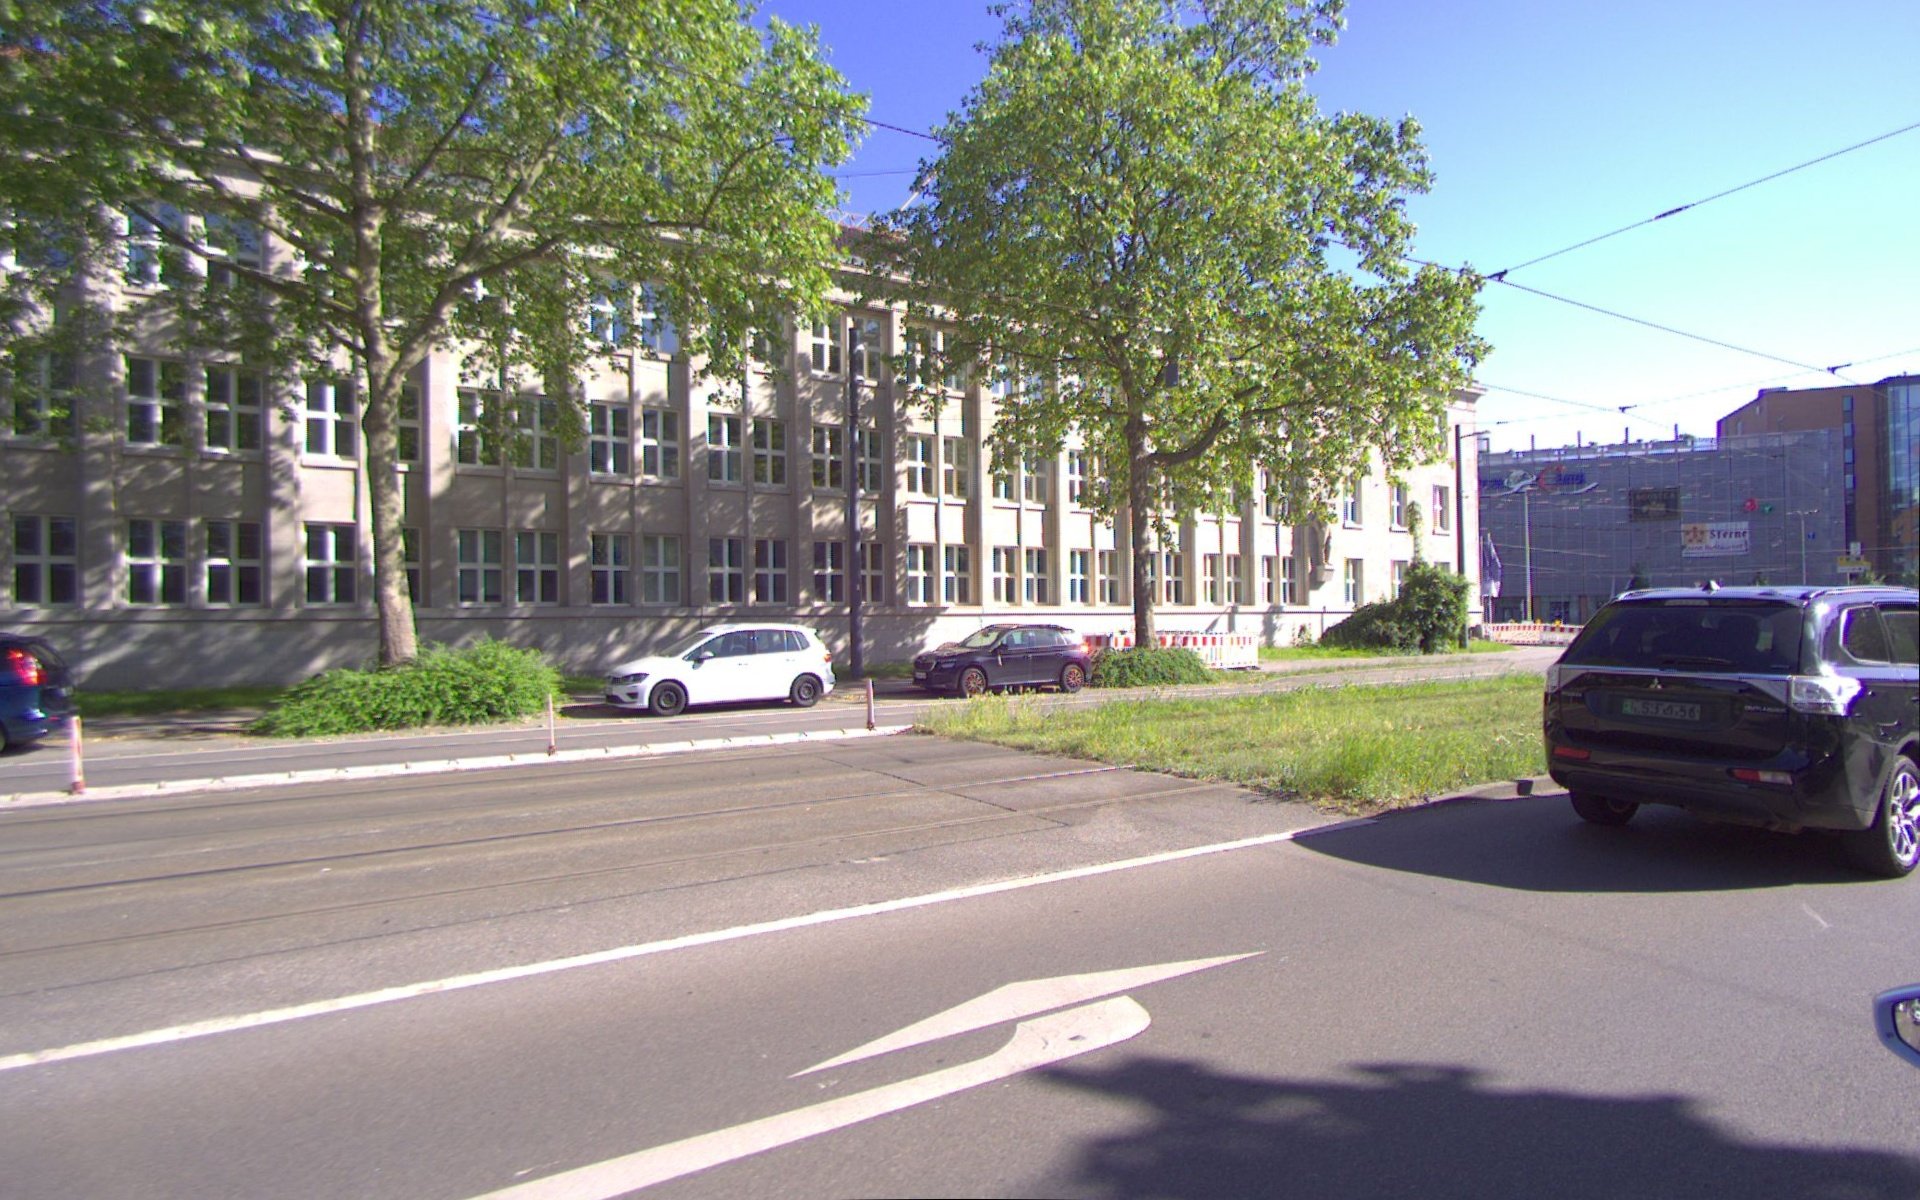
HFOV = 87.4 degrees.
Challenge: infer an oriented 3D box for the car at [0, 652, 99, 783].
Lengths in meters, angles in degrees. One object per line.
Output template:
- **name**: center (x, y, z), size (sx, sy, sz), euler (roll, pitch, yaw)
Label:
- **car**: center (-14.086, 1.575, 12.915), size (4.349, 1.660, 1.819), euler (0, -2, -34)

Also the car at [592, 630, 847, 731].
- **car**: center (-4.507, 1.459, 19.040), size (4.348, 1.608, 1.820), euler (-1, -3, -33)

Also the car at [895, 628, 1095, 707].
- **car**: center (0.809, 1.444, 22.414), size (4.133, 1.512, 1.821), euler (-1, -2, -31)

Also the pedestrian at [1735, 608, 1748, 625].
- **pedestrian**: center (85.203, 1.796, 109.531), size (0.839, 1.760, 0.754), euler (-2, -2, 14)

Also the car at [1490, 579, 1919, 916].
- **car**: center (5.967, 0.775, 7.068), size (4.589, 1.704, 1.827), euler (0, -1, -31)
